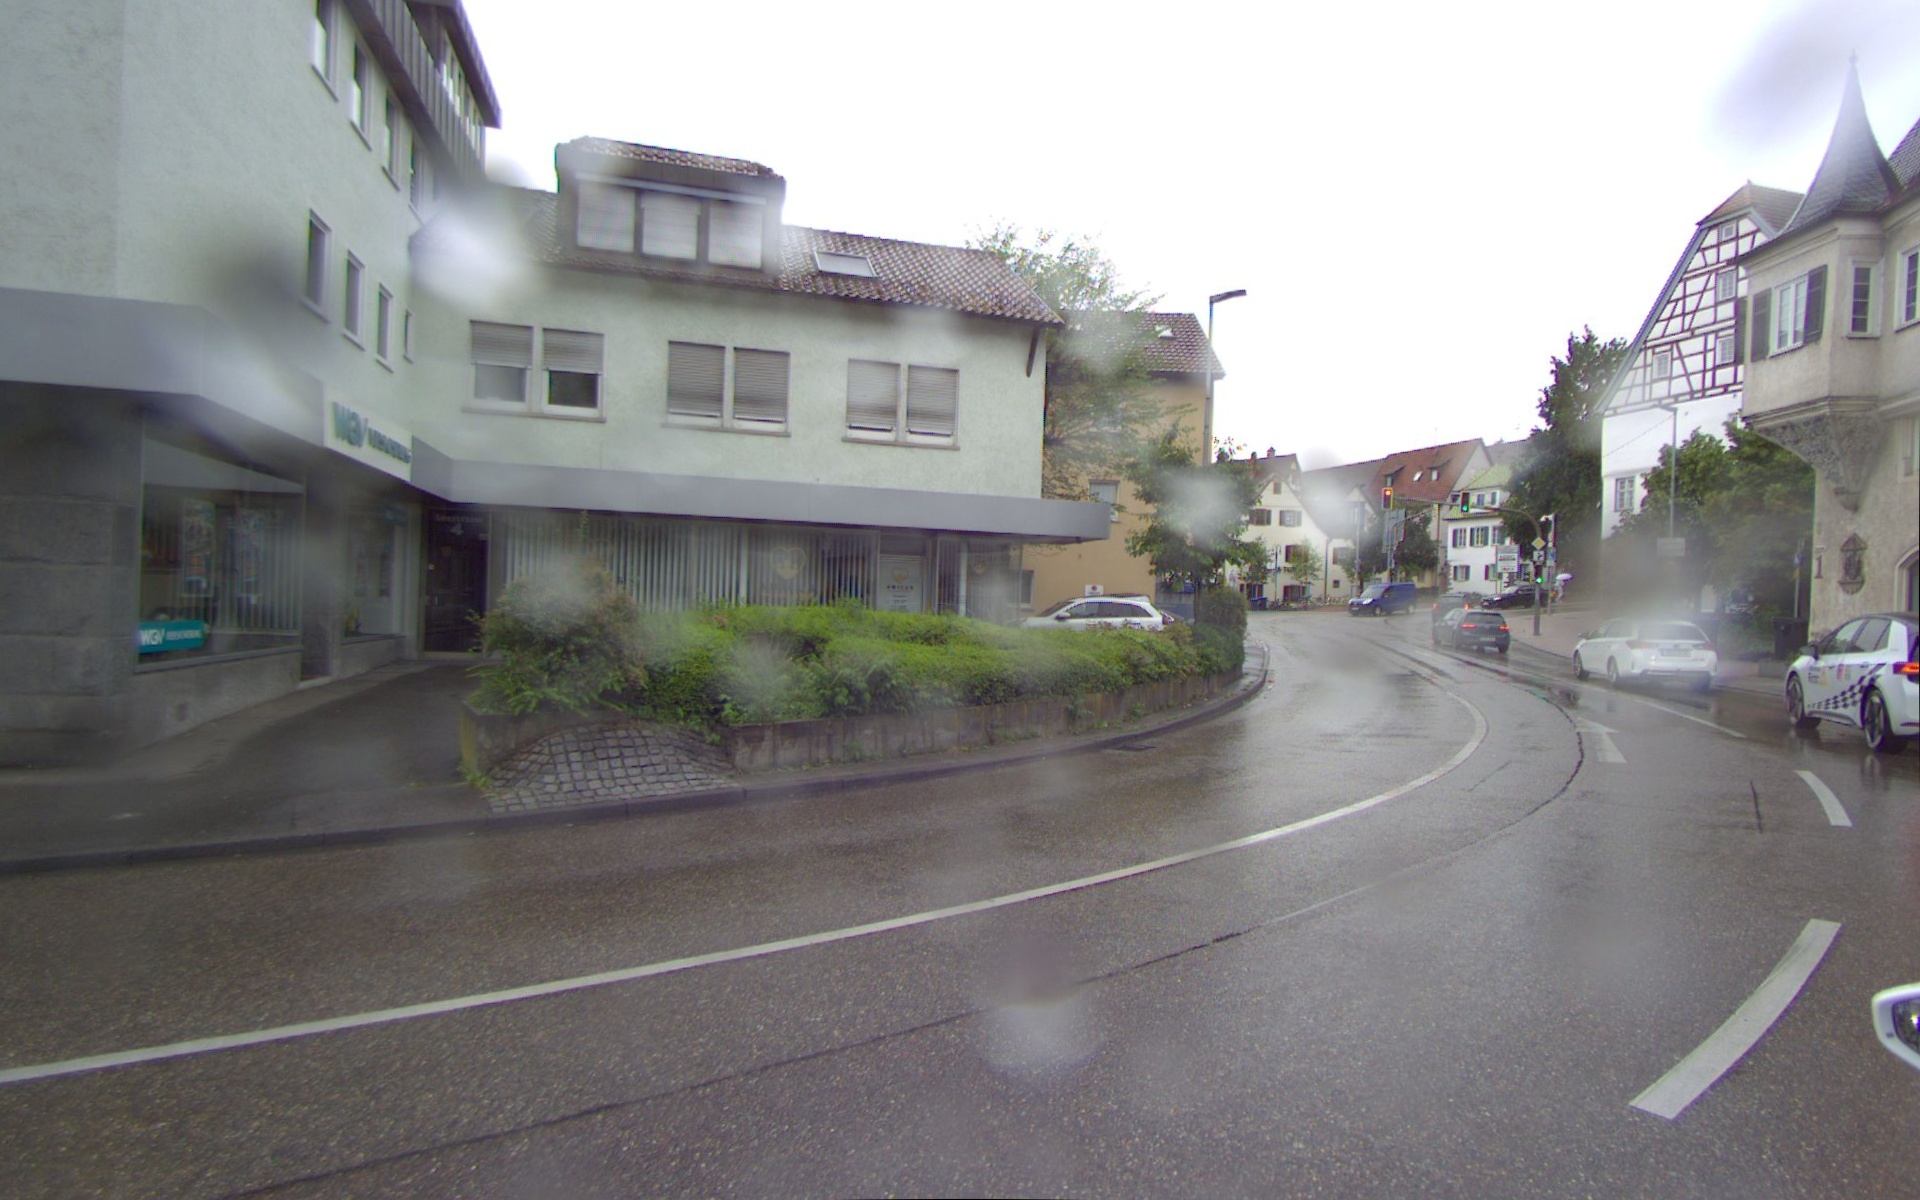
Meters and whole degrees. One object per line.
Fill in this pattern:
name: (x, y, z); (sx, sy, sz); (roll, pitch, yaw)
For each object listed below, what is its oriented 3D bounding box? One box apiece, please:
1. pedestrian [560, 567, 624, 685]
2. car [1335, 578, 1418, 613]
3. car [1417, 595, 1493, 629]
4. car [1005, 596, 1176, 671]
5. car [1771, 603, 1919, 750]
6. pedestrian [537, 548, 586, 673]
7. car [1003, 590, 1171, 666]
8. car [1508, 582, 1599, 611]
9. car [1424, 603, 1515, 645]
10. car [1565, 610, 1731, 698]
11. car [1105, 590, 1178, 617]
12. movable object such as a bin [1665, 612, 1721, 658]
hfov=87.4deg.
pedestrian: (-5.451, 0.376, 14.896); (0.850, 1.694, 0.614); (1, 1, -21)
car: (24.228, -0.269, 58.416); (4.315, 1.907, 1.989); (1, 1, -23)
car: (24.175, 0.601, 49.036); (3.387, 1.544, 1.577); (2, 0, -26)
car: (3.025, 0.767, 23.721); (3.580, 1.651, 1.996); (1, 0, -10)
car: (11.329, 0.812, 11.850); (1.827, 1.492, 3.996); (2, 1, 26)
pedestrian: (-6.054, 0.156, 15.274); (0.663, 1.844, 0.614); (1, 1, -21)
car: (3.871, 0.832, 31.229); (4.839, 1.850, 1.962); (-4, 2, -2)
car: (36.480, -0.219, 61.821); (4.389, 1.612, 2.001); (2, 0, 3)
car: (18.168, 0.805, 36.019); (1.959, 1.319, 4.002); (2, 1, 13)
car: (15.041, 1.090, 22.241); (1.854, 1.617, 4.326); (2, 1, 18)
car: (11.455, 0.256, 63.654); (4.404, 1.566, 1.864); (1, -1, 5)
movable object such as a bin: (22.680, 1.069, 31.111); (1.136, 1.330, 1.186); (1, 1, 23)
